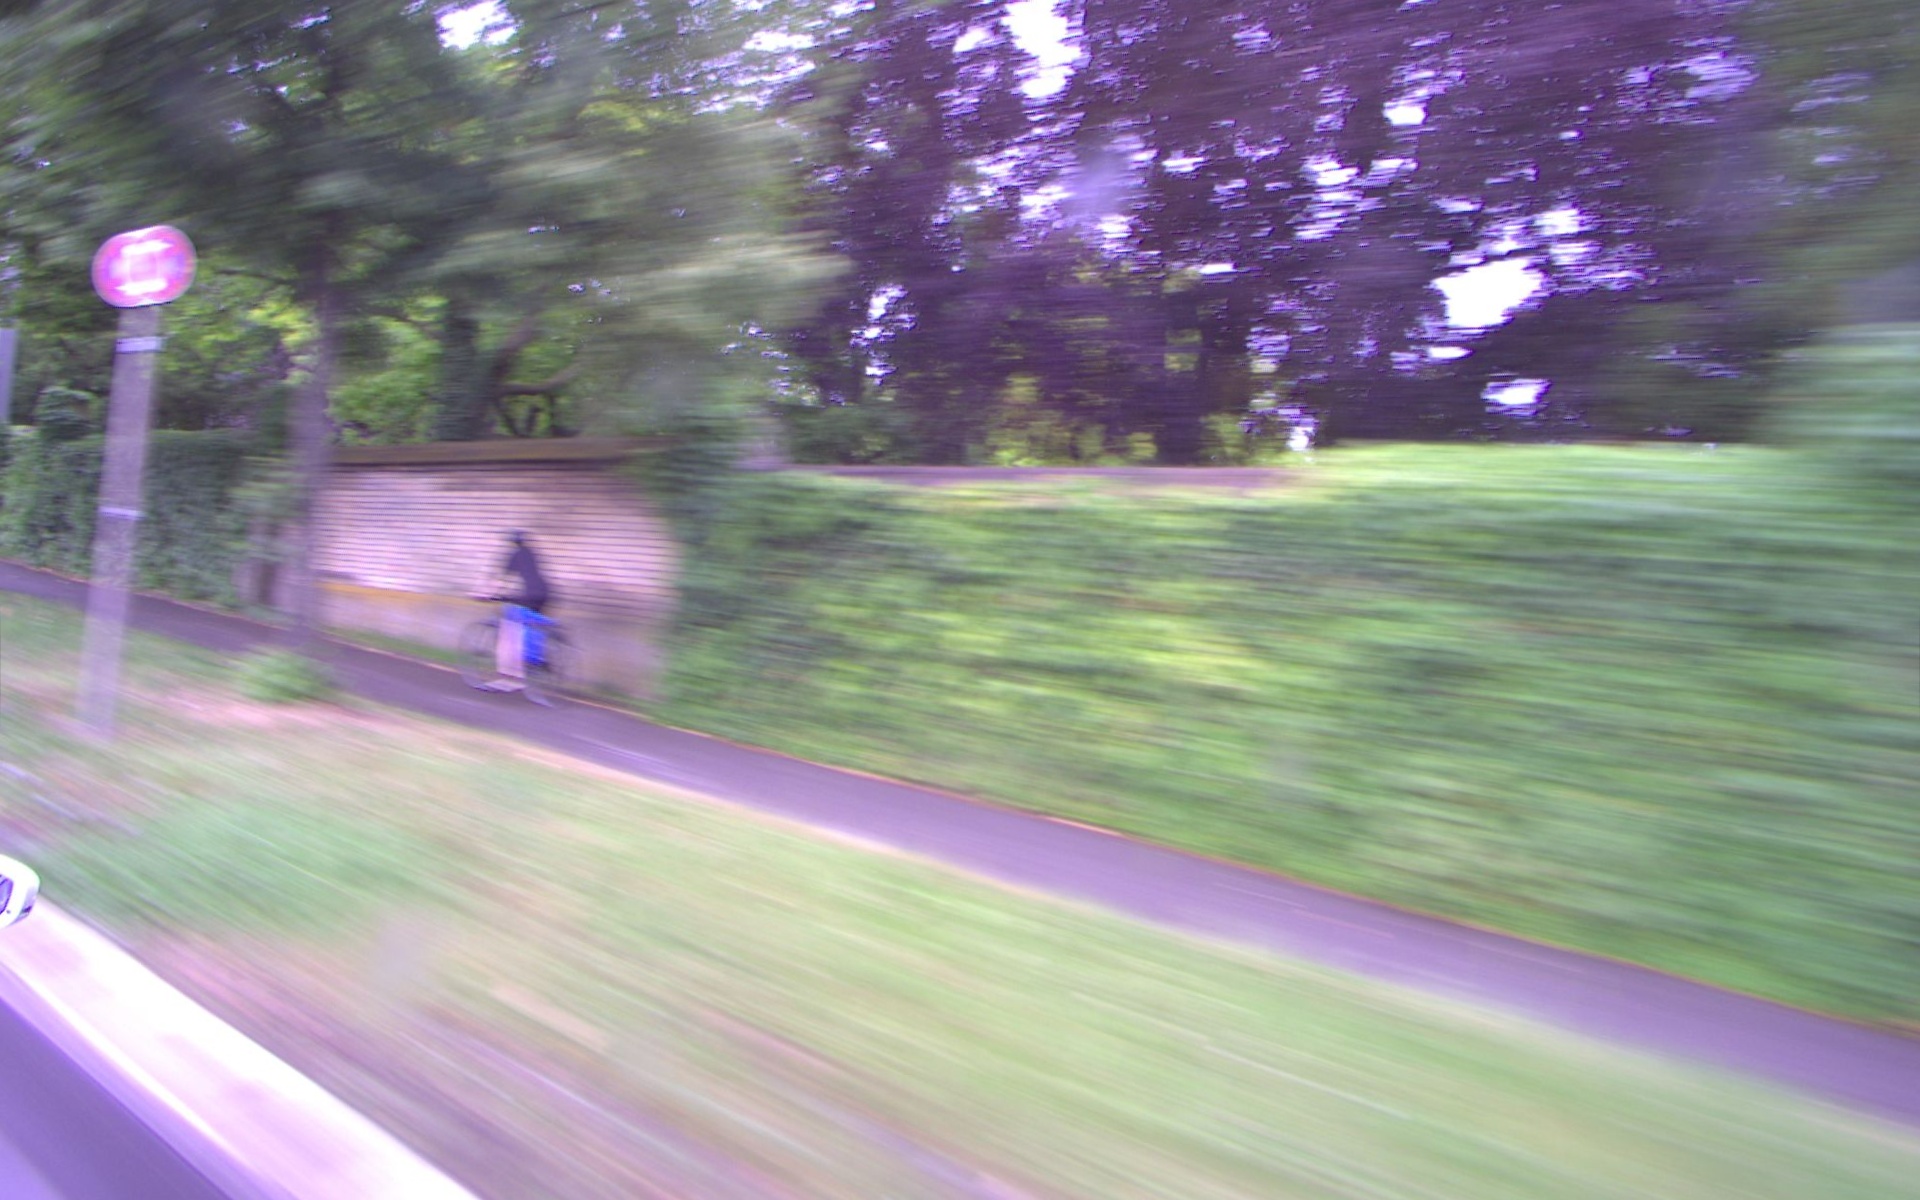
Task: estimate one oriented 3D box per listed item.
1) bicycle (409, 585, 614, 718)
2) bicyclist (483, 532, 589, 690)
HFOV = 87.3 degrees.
[{"bbox_3d":[-4.397,0.458,9.747,2.509,0.960,0.543,6,1,35],"label":"bicycle"},{"bbox_3d":[-4.014,0.109,9.520,0.656,1.407,0.535,7,1,35],"label":"bicyclist"}]
